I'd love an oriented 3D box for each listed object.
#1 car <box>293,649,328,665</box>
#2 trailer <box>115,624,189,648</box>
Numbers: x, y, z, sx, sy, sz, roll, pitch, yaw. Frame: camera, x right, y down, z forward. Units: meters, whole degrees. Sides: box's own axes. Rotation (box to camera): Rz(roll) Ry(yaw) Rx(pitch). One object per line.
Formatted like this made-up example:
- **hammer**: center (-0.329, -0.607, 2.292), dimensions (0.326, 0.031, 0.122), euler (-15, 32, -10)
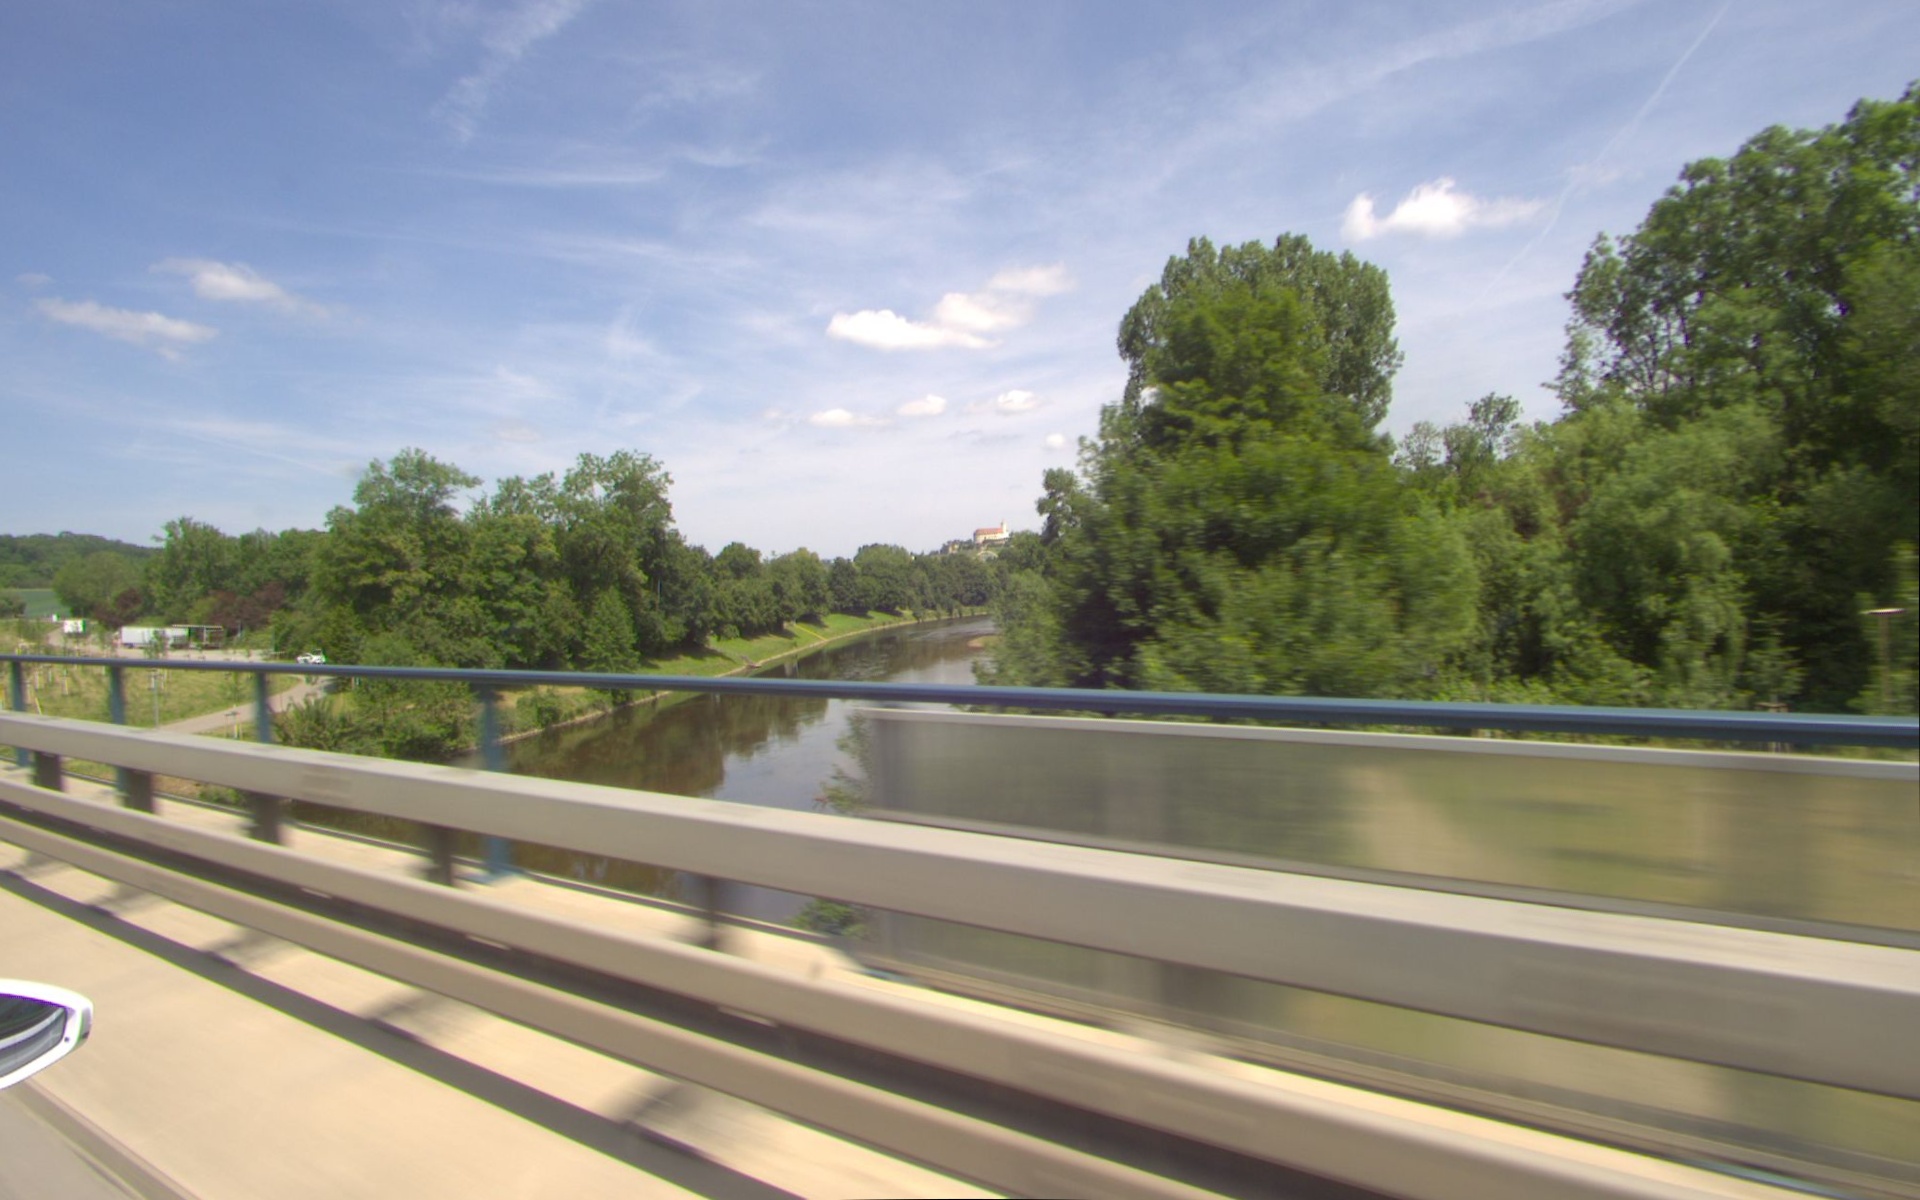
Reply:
- **car**: center (-72.684, 6.355, 112.065), dimensions (4.549, 1.503, 1.849), euler (0, 3, 38)
- **trailer**: center (-120.908, 5.297, 149.875), dimensions (11.682, 3.371, 2.723), euler (0, 0, 18)
